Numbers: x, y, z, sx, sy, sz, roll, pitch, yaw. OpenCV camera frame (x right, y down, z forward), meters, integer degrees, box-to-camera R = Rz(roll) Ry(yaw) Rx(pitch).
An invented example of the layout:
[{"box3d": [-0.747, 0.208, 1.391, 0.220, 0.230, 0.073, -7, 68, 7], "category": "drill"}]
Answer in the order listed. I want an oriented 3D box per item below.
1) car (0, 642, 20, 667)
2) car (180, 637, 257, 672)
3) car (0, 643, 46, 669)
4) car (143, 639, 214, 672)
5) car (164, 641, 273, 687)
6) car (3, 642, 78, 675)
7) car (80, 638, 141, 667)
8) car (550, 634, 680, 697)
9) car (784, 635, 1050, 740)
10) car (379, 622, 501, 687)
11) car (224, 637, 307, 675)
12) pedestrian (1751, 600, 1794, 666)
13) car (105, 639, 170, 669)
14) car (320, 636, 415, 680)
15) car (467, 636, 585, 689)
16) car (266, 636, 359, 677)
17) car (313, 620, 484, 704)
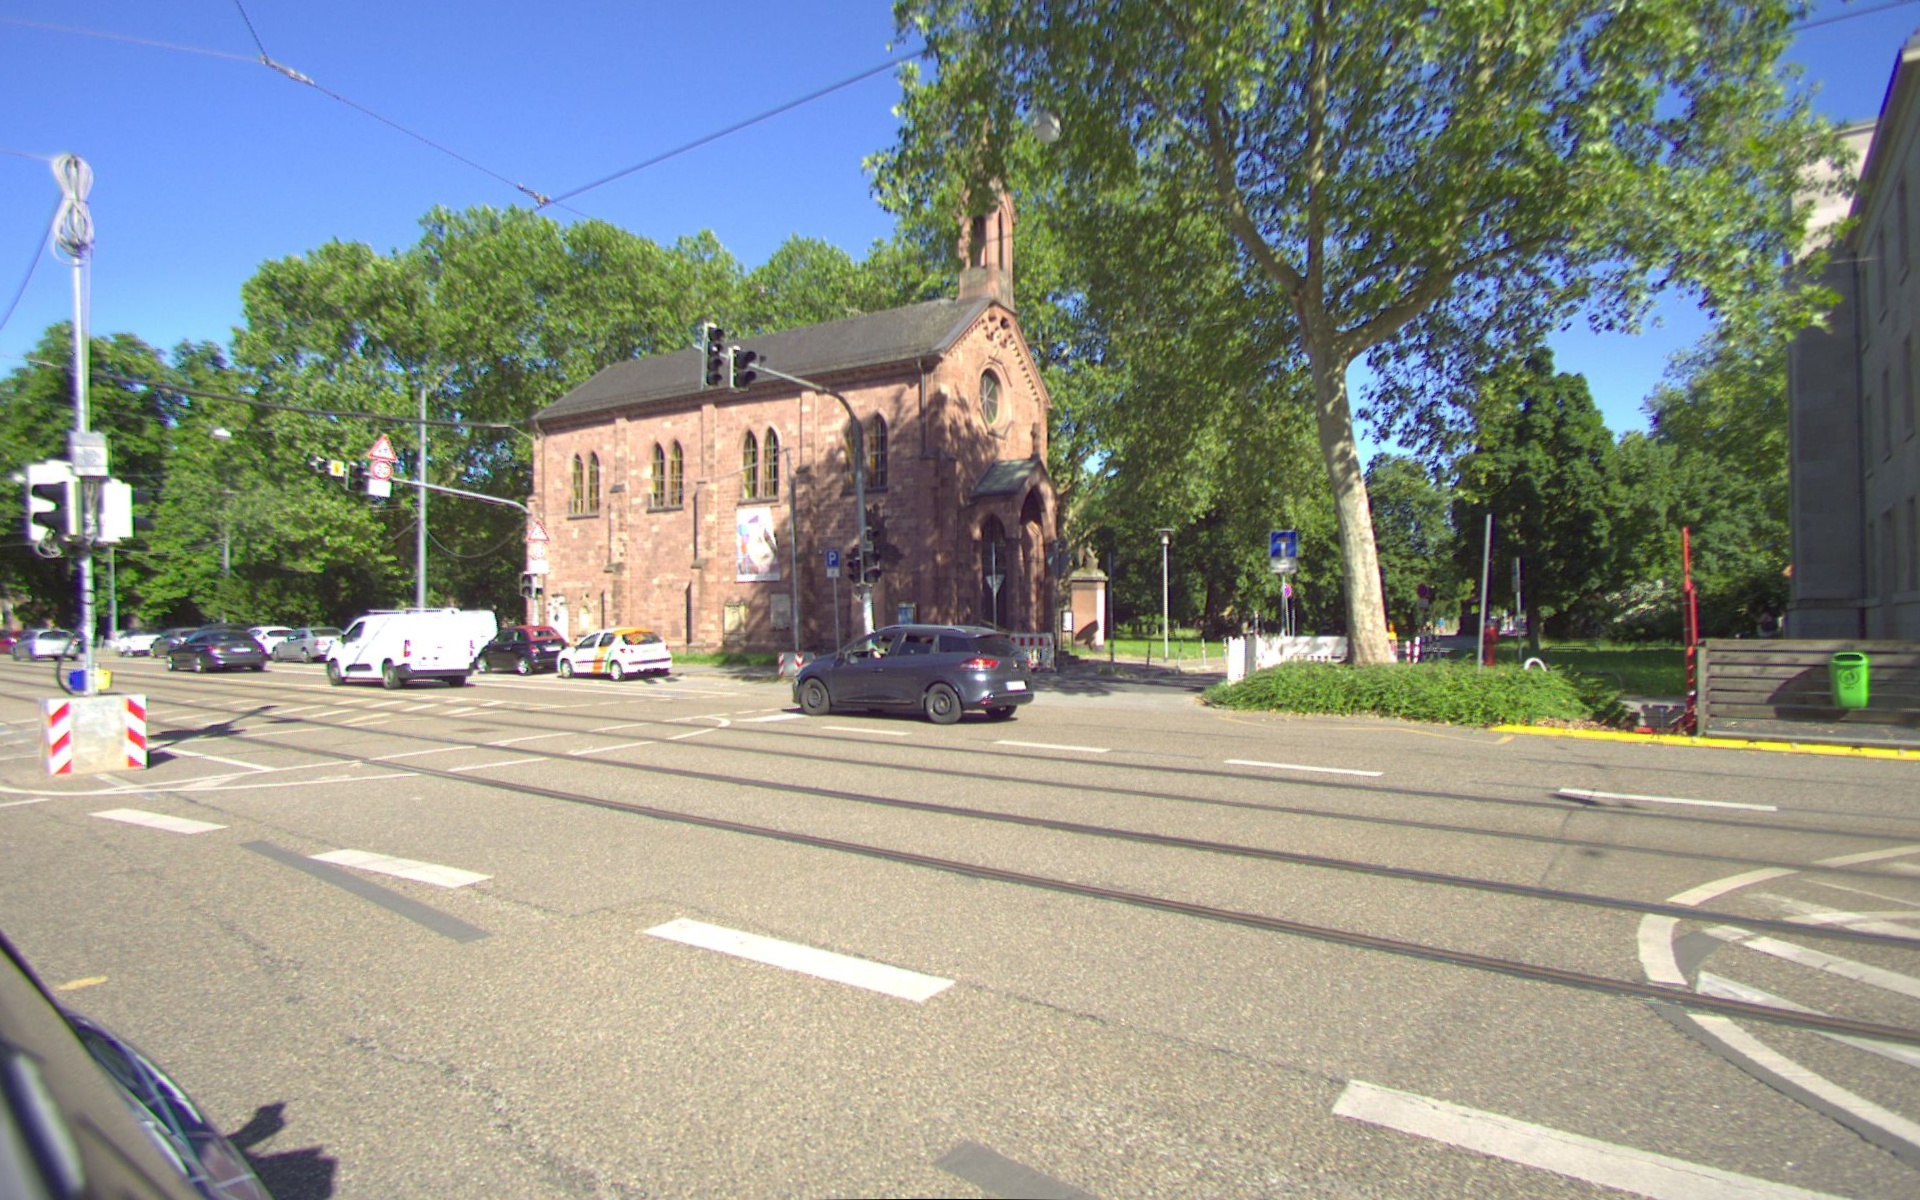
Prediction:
[{"box3d": [-62.447, 3.499, 65.383, 4.300, 1.563, 1.774, -2, -2, 37], "category": "car"}, {"box3d": [-34.742, 2.534, 47.412, 4.300, 1.563, 1.774, -2, -2, 37], "category": "car"}, {"box3d": [-58.506, 3.444, 62.861, 4.300, 1.563, 1.774, -2, -2, 37], "category": "car"}, {"box3d": [-39.259, 2.776, 50.803, 4.300, 1.563, 1.774, -2, -2, 37], "category": "car"}, {"box3d": [-24.855, 2.102, 33.892, 4.369, 1.440, 1.776, -2, -2, 37], "category": "car"}, {"box3d": [-42.089, 2.654, 46.305, 4.369, 1.440, 1.776, -2, -2, 37], "category": "car"}, {"box3d": [-48.257, 2.986, 57.462, 4.300, 1.563, 1.774, -2, -2, 37], "category": "car"}, {"box3d": [-9.957, 1.848, 29.145, 3.671, 1.585, 1.758, -2, 1, 37], "category": "car"}, {"box3d": [-0.740, 1.270, 15.861, 4.080, 1.423, 1.601, -1, -2, 36], "category": "car"}, {"box3d": [-18.035, 1.840, 35.010, 4.583, 2.113, 1.899, -2, -2, 36], "category": "car"}, {"box3d": [-30.667, 2.457, 44.634, 4.300, 1.563, 1.774, -2, -2, 37], "category": "car"}, {"box3d": [23.894, 0.974, 29.757, 0.902, 1.910, 0.800, -3, -3, 41], "category": "pedestrian"}, {"box3d": [-44.160, 2.869, 54.309, 4.300, 1.563, 1.774, -2, -2, 37], "category": "car"}, {"box3d": [-22.526, 2.173, 38.445, 3.853, 1.563, 1.774, -2, -2, 37], "category": "car"}, {"box3d": [-13.854, 1.948, 32.230, 3.853, 1.563, 1.774, -2, -2, 37], "category": "car"}, {"box3d": [-26.501, 2.288, 41.373, 4.298, 1.563, 1.775, -2, -2, 36], "category": "car"}, {"box3d": [-14.064, 1.524, 25.267, 4.509, 1.906, 2.042, -2, -4, 37], "category": "car"}]
